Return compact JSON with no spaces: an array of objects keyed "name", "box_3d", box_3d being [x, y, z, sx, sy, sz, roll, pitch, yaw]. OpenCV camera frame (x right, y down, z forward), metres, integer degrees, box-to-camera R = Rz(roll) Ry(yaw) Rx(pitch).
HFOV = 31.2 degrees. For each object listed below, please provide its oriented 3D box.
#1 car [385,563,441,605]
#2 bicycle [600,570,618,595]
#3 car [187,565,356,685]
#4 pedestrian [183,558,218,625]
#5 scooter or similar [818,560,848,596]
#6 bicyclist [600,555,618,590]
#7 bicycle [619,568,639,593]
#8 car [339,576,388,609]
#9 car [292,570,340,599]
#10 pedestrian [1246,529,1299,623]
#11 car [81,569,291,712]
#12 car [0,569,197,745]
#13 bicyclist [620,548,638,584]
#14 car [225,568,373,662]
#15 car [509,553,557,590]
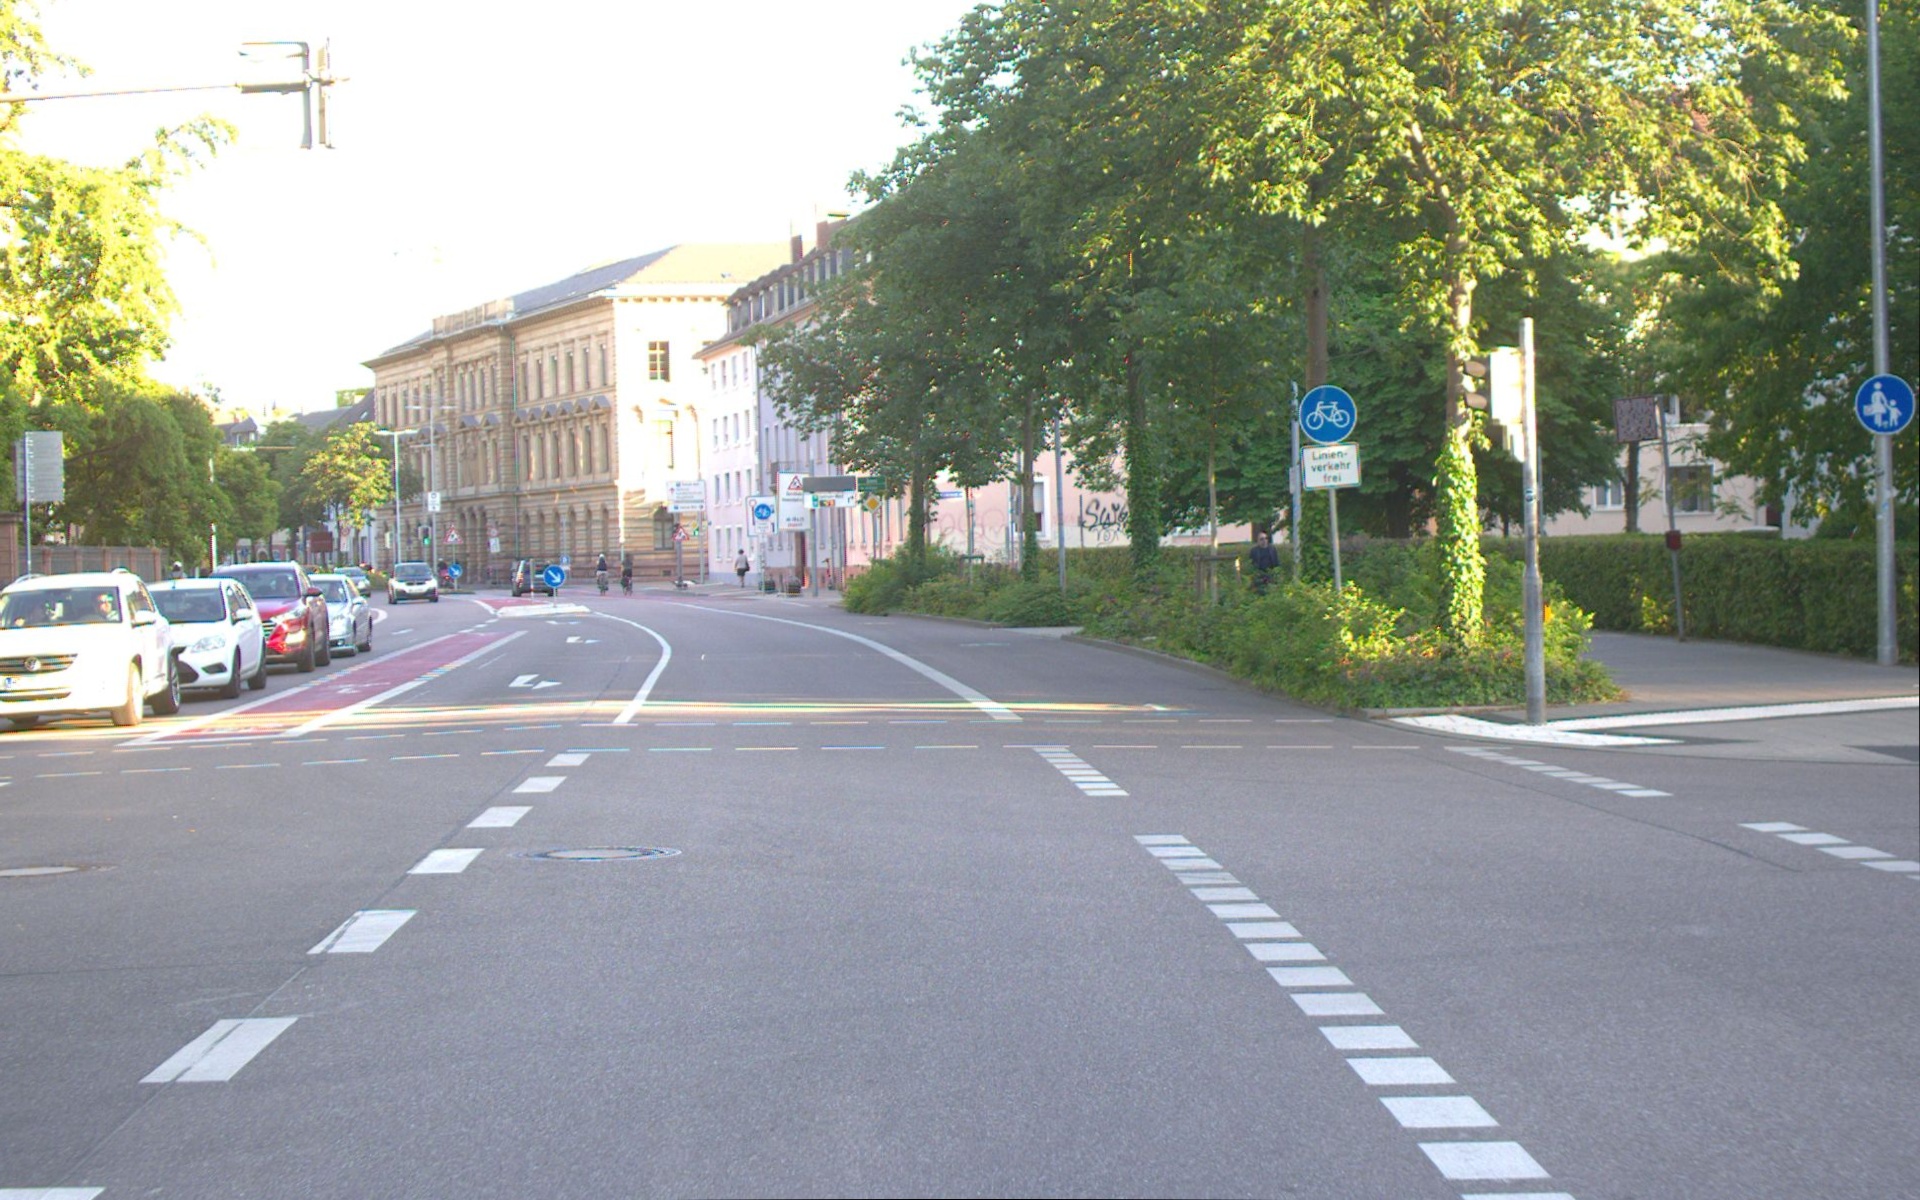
[{"name":"car","box_3d":[-21.597,-0.641,135.633,1.848,1.521,4.001,-3,1,-13]},{"name":"bicycle","box_3d":[-14.467,-0.720,141.677,0.652,1.012,2.198,1,1,-8]},{"name":"car","box_3d":[-10.407,0.338,52.243,1.916,1.619,4.640,-3,1,-5]},{"name":"pedestrian","box_3d":[-18.694,-0.216,84.618,0.681,1.617,0.688,-2,1,-2]},{"name":"scooter or similar","box_3d":[-4.883,-0.848,132.282,0.629,1.332,2.401,-1,1,-14]},{"name":"bicyclist","box_3d":[-14.449,-1.122,141.586,0.652,1.441,0.879,1,0,-8]},{"name":"bicycle","box_3d":[-13.605,-0.790,141.269,0.652,1.012,2.198,1,1,-8]},{"name":"car","box_3d":[-27.845,-0.371,160.305,1.835,1.434,4.001,-3,1,-15]},{"name":"car","box_3d":[-36.979,-0.885,197.392,1.993,1.579,4.001,-1,1,-21]},{"name":"pedestrian","box_3d":[5.871,-0.451,64.558,0.769,1.733,0.807,-2,1,-10]},{"name":"car","box_3d":[-9.777,0.467,43.753,1.916,1.578,4.675,-3,1,-5]},{"name":"car","box_3d":[-9.558,0.575,37.102,1.916,1.690,4.427,-3,1,-5]},{"name":"bicyclist","box_3d":[-13.595,-1.415,141.268,0.652,1.470,0.941,1,0,-8]},{"name":"car","box_3d":[-11.249,0.218,58.756,1.916,1.413,4.771,-3,1,-5]},{"name":"car","box_3d":[-17.509,-1.163,140.794,1.867,1.505,4.001,-1,0,-8]}]
